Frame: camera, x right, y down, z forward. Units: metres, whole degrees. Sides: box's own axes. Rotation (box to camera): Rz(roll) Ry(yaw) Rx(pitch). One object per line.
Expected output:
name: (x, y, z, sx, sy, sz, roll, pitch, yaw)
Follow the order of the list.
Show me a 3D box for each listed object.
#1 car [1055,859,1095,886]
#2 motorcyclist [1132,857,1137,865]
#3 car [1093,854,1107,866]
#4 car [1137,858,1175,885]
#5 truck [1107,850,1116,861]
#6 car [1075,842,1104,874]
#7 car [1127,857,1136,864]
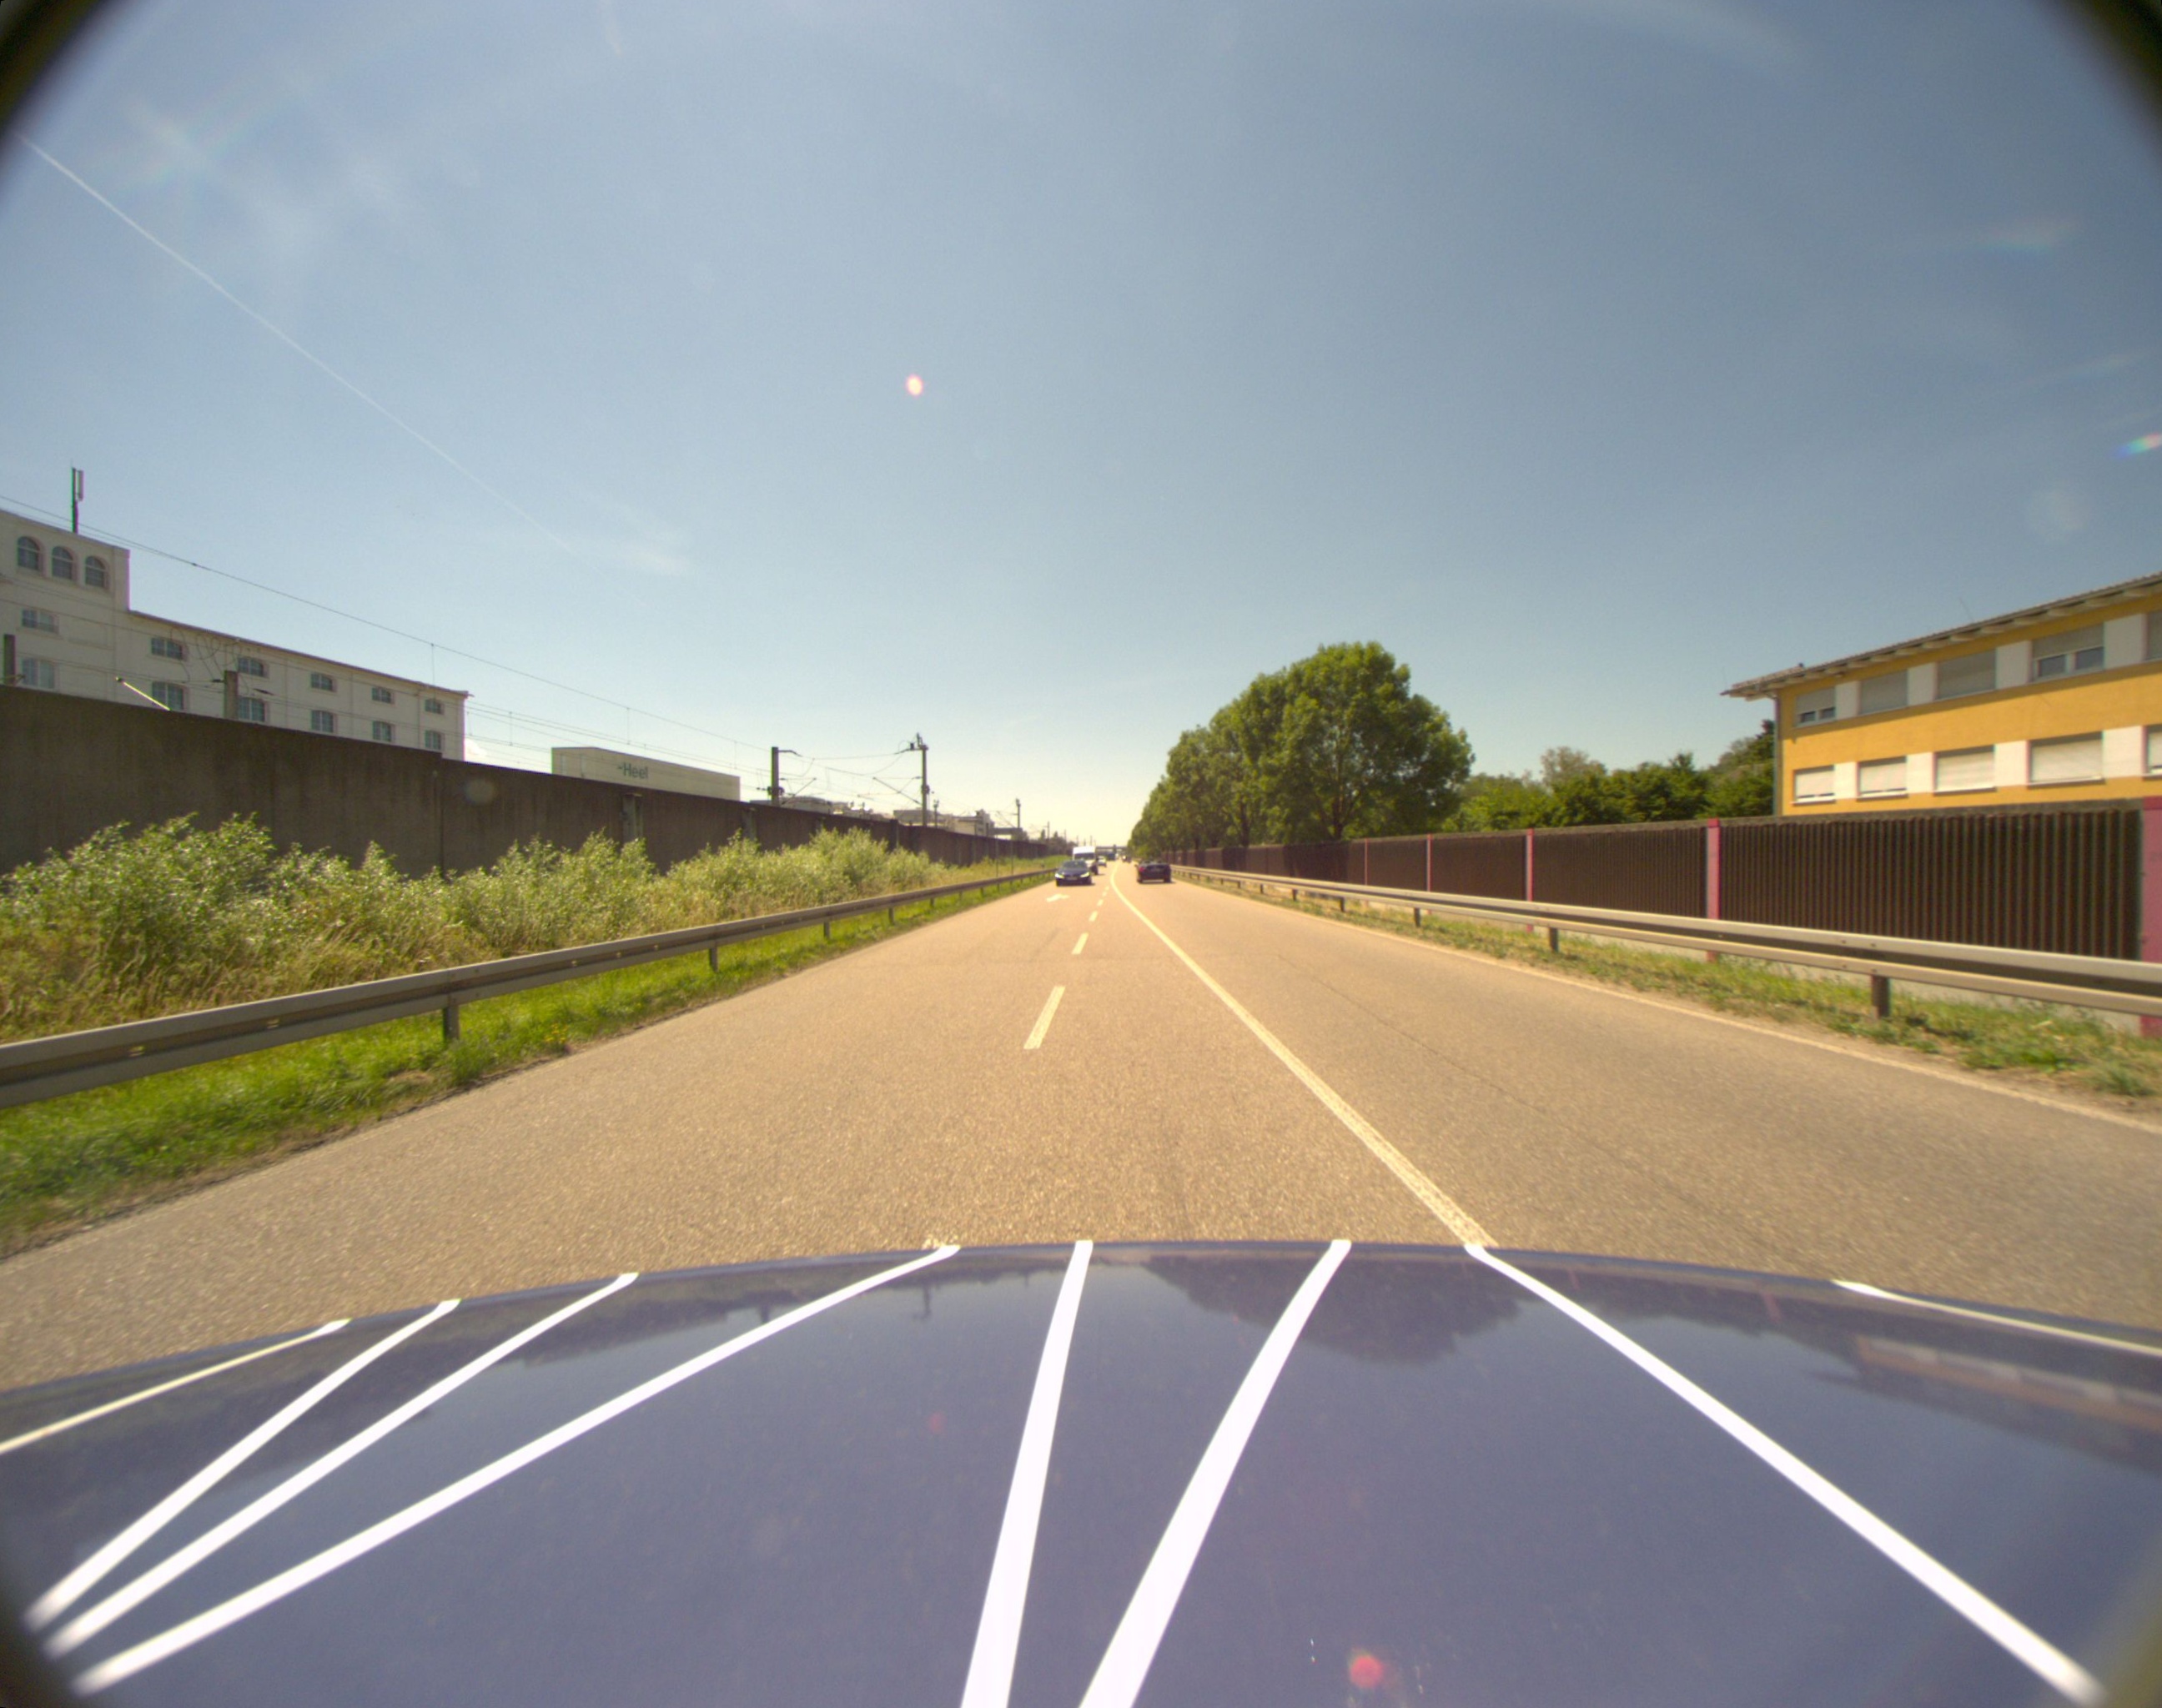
car: (-0.288, 0.991, 42.810, 1.861, 1.371, 4.504, -2, 0, 3)
motorcyclist: (10.295, 1.277, 146.033, 0.951, 1.536, 1.214, -2, 0, 2)
car: (2.618, 0.788, 106.961, 1.822, 1.554, 4.278, -2, 0, 1)
car: (4.116, 0.937, 42.192, 1.849, 1.382, 4.191, -2, 0, 3)
truck: (9.526, 0.455, 234.113, 2.616, 3.024, 10.656, -1, 0, 2)
car: (0.839, 0.325, 66.764, 2.193, 2.588, 6.752, -2, 0, 3)
car: (11.283, 1.424, 170.027, 1.757, 1.499, 4.530, -2, 0, 3)
